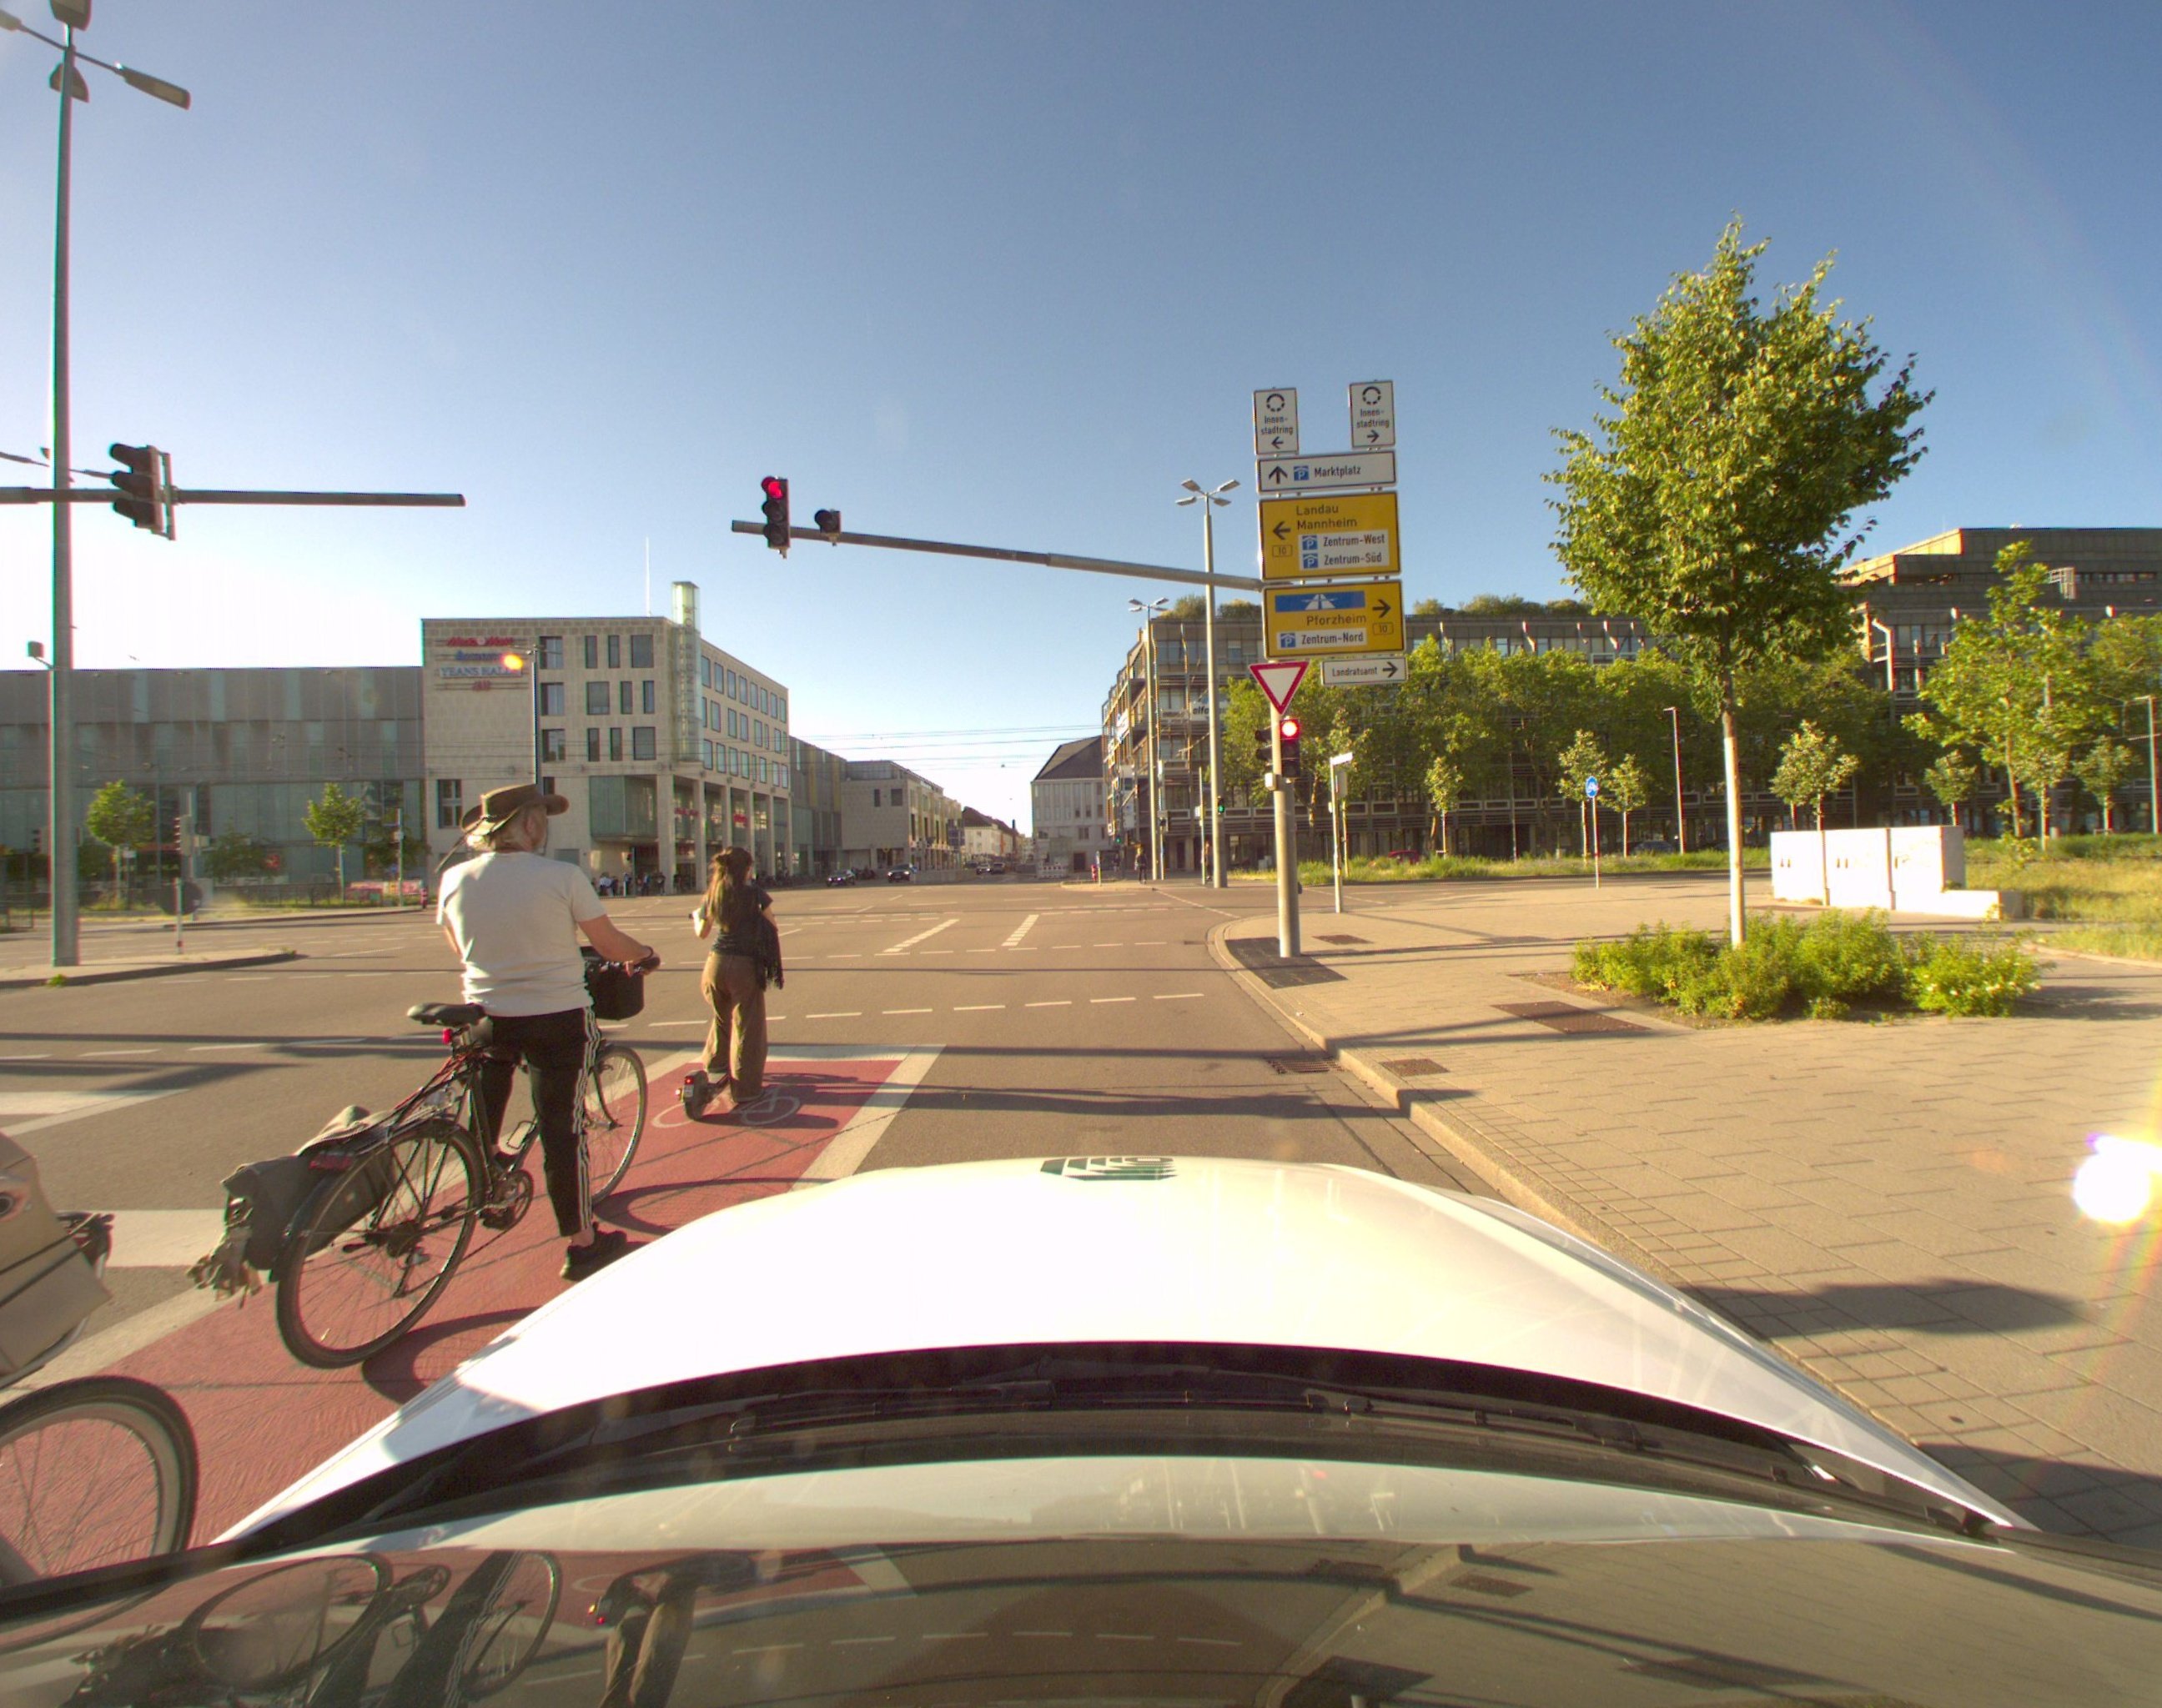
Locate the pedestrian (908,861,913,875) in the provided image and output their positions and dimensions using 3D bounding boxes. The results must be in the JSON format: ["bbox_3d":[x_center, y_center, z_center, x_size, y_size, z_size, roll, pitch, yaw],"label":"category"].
[{"bbox_3d":[-24.551,2.010,117.306,0.616,2.014,0.476,0,-1,-13],"label":"pedestrian"}]

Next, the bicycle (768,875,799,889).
[{"bbox_3d":[-26.615,2.483,72.885,2.458,1.111,0.684,-2,0,2],"label":"bicycle"}]

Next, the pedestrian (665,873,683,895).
[{"bbox_3d":[-29.216,2.143,58.501,0.950,1.571,0.832,-1,-1,-40],"label":"pedestrian"}]

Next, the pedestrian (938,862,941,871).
[{"bbox_3d":[-22.422,2.008,128.952,0.487,1.356,0.563,0,-1,-4],"label":"pedestrian"}]

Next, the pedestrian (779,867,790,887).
[{"bbox_3d":[-30.346,2.339,83.408,0.949,1.982,1.000,-1,-1,-23],"label":"pedestrian"}]

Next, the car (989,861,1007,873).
[{"bbox_3d":[-11.058,1.769,108.750,1.931,1.450,4.259,-2,-1,-2],"label":"car"}]

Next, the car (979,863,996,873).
[{"bbox_3d":[-16.425,2.392,143.272,2.167,1.692,5.613,-2,-1,0],"label":"car"}]

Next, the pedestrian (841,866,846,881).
[{"bbox_3d":[-33.334,2.717,114.263,0.616,2.014,0.476,0,-1,-13],"label":"pedestrian"}]

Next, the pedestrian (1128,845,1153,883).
[{"bbox_3d":[2.530,0.407,34.501,0.894,1.549,0.922,-2,1,-5],"label":"pedestrian"}]

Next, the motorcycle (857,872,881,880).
[{"bbox_3d":[-25.628,2.686,98.595,2.664,0.996,0.914,0,-1,-6],"label":"motorcycle"}]

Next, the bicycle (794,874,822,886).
[{"bbox_3d":[-27.199,2.571,81.285,2.458,1.111,0.835,-2,0,2],"label":"bicycle"}]

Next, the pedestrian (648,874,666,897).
[{"bbox_3d":[-30.955,2.294,59.456,1.012,1.651,0.938,-1,-1,-38],"label":"pedestrian"}]

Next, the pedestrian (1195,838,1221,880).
[{"bbox_3d":[5.323,0.199,34.127,0.854,1.744,0.737,-2,0,-7],"label":"pedestrian"}]

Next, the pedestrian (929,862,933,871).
[{"bbox_3d":[-23.734,2.015,128.659,0.487,1.356,0.563,0,-1,-4],"label":"pedestrian"}]

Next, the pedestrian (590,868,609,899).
[{"bbox_3d":[-33.925,2.090,57.375,0.898,2.124,0.941,-1,-1,-18],"label":"pedestrian"}]

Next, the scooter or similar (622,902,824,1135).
[{"bbox_3d":[-2.184,0.938,5.181,0.640,1.175,1.483,-1,0,-1],"label":"scooter or similar"}]

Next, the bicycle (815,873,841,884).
[{"bbox_3d":[-27.034,2.627,87.036,2.458,1.111,0.631,-2,0,2],"label":"bicycle"}]

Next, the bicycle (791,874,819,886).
[{"bbox_3d":[-27.143,2.561,80.031,2.458,1.111,0.684,-2,0,2],"label":"bicycle"}]

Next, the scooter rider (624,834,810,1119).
[{"bbox_3d":[-2.171,0.666,5.005,0.640,1.544,1.116,-1,0,-1],"label":"scooter rider"}]

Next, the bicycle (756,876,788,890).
[{"bbox_3d":[-26.820,2.493,70.714,2.458,1.111,0.684,-2,0,2],"label":"bicycle"}]

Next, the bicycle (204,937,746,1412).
[{"bbox_3d":[-2.036,0.971,3.140,0.704,1.094,1.800,-2,0,0],"label":"bicycle"}]

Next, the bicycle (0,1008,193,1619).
[{"bbox_3d":[-2.427,0.931,1.008,0.621,1.116,1.816,-2,0,1],"label":"bicycle"}]

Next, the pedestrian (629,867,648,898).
[{"bbox_3d":[-31.650,2.037,58.196,1.067,2.129,1.086,-1,-1,-34],"label":"pedestrian"}]

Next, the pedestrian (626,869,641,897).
[{"bbox_3d":[-32.665,2.128,59.418,0.920,2.014,1.014,-1,-1,-29],"label":"pedestrian"}]

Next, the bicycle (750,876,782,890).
[{"bbox_3d":[-26.838,2.486,69.368,2.394,1.113,0.658,-2,0,1],"label":"bicycle"}]

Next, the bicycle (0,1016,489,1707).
[{"bbox_3d":[-1.688,0.922,0.935,0.648,1.094,1.800,-2,0,1],"label":"bicycle"}]

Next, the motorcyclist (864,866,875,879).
[{"bbox_3d":[-25.607,2.259,98.615,1.135,1.575,0.914,0,-1,-5],"label":"motorcyclist"}]

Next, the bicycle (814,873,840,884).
[{"bbox_3d":[-26.917,2.610,86.304,2.458,1.111,0.661,-2,0,2],"label":"bicycle"}]

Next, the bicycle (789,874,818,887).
[{"bbox_3d":[-26.661,2.537,78.241,2.458,1.111,0.684,-2,0,2],"label":"bicycle"}]

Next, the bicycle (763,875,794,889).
[{"bbox_3d":[-26.735,2.493,72.078,2.457,1.111,0.685,-2,0,4],"label":"bicycle"}]

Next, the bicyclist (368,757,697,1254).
[{"bbox_3d":[-2.056,0.514,3.170,0.697,1.669,0.786,-2,0,0],"label":"bicyclist"}]

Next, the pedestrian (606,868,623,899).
[{"bbox_3d":[-32.589,2.052,56.930,0.902,2.124,0.936,-1,-1,-35],"label":"pedestrian"}]

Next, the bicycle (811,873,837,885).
[{"bbox_3d":[-26.981,2.598,85.528,2.458,1.111,0.661,-2,0,2],"label":"bicycle"}]

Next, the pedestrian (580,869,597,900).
[{"bbox_3d":[-35.298,2.172,58.391,0.900,2.124,0.939,-1,-1,-25],"label":"pedestrian"}]

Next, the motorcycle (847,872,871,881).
[{"bbox_3d":[-25.921,2.660,95.151,2.664,0.996,0.914,0,-1,-6],"label":"motorcycle"}]

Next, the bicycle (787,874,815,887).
[{"bbox_3d":[-26.621,2.538,77.464,2.458,1.111,0.684,-2,0,2],"label":"bicycle"}]

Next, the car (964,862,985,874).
[{"bbox_3d":[-15.636,2.079,120.188,2.166,1.692,5.488,-2,-1,1],"label":"car"}]

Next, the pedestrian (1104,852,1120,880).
[{"bbox_3d":[2.205,0.838,57.159,1.006,1.911,1.052,-2,0,6],"label":"pedestrian"}]

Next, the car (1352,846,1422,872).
[{"bbox_3d":[20.376,0.344,54.329,3.861,1.486,1.842,-2,-3,-5],"label":"car"}]

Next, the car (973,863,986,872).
[{"bbox_3d":[-21.587,2.800,173.290,2.168,1.873,5.610,-2,-1,-2],"label":"car"}]

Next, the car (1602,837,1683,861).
[{"bbox_3d":[41.773,-0.382,60.612,4.848,1.680,1.995,-2,1,-7],"label":"car"}]

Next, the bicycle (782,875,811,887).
[{"bbox_3d":[-26.650,2.527,76.238,2.458,1.111,0.594,-2,0,2],"label":"bicycle"}]

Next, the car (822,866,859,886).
[{"bbox_3d":[-20.825,1.890,70.698,1.931,1.581,4.293,-2,0,0],"label":"car"}]

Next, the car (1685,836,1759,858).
[{"bbox_3d":[47.921,-0.508,60.958,3.976,1.521,1.999,-2,0,-2],"label":"car"}]

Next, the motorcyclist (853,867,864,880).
[{"bbox_3d":[-26.005,2.262,95.137,1.035,1.471,0.914,0,-1,-5],"label":"motorcyclist"}]

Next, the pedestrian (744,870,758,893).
[{"bbox_3d":[-25.444,2.111,62.743,0.748,1.740,0.756,-2,-1,-1],"label":"pedestrian"}]

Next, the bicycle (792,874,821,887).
[{"bbox_3d":[-26.649,2.543,79.046,2.458,1.111,0.835,-2,0,2],"label":"bicycle"}]

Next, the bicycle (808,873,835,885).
[{"bbox_3d":[-26.999,2.602,84.643,2.458,1.111,0.835,-2,0,2],"label":"bicycle"}]

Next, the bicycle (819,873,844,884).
[{"bbox_3d":[-26.960,2.622,88.092,2.458,1.111,0.661,-2,0,2],"label":"bicycle"}]

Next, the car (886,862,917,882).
[{"bbox_3d":[-15.775,1.576,71.665,1.933,1.677,4.290,-2,-1,-3],"label":"car"}]

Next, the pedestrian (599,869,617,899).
[{"bbox_3d":[-34.150,2.166,58.762,0.898,2.124,0.941,-1,-1,-17],"label":"pedestrian"}]

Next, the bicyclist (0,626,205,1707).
[{"bbox_3d":[-1.699,0.488,0.829,0.648,1.543,0.847,-2,0,1],"label":"bicyclist"}]
